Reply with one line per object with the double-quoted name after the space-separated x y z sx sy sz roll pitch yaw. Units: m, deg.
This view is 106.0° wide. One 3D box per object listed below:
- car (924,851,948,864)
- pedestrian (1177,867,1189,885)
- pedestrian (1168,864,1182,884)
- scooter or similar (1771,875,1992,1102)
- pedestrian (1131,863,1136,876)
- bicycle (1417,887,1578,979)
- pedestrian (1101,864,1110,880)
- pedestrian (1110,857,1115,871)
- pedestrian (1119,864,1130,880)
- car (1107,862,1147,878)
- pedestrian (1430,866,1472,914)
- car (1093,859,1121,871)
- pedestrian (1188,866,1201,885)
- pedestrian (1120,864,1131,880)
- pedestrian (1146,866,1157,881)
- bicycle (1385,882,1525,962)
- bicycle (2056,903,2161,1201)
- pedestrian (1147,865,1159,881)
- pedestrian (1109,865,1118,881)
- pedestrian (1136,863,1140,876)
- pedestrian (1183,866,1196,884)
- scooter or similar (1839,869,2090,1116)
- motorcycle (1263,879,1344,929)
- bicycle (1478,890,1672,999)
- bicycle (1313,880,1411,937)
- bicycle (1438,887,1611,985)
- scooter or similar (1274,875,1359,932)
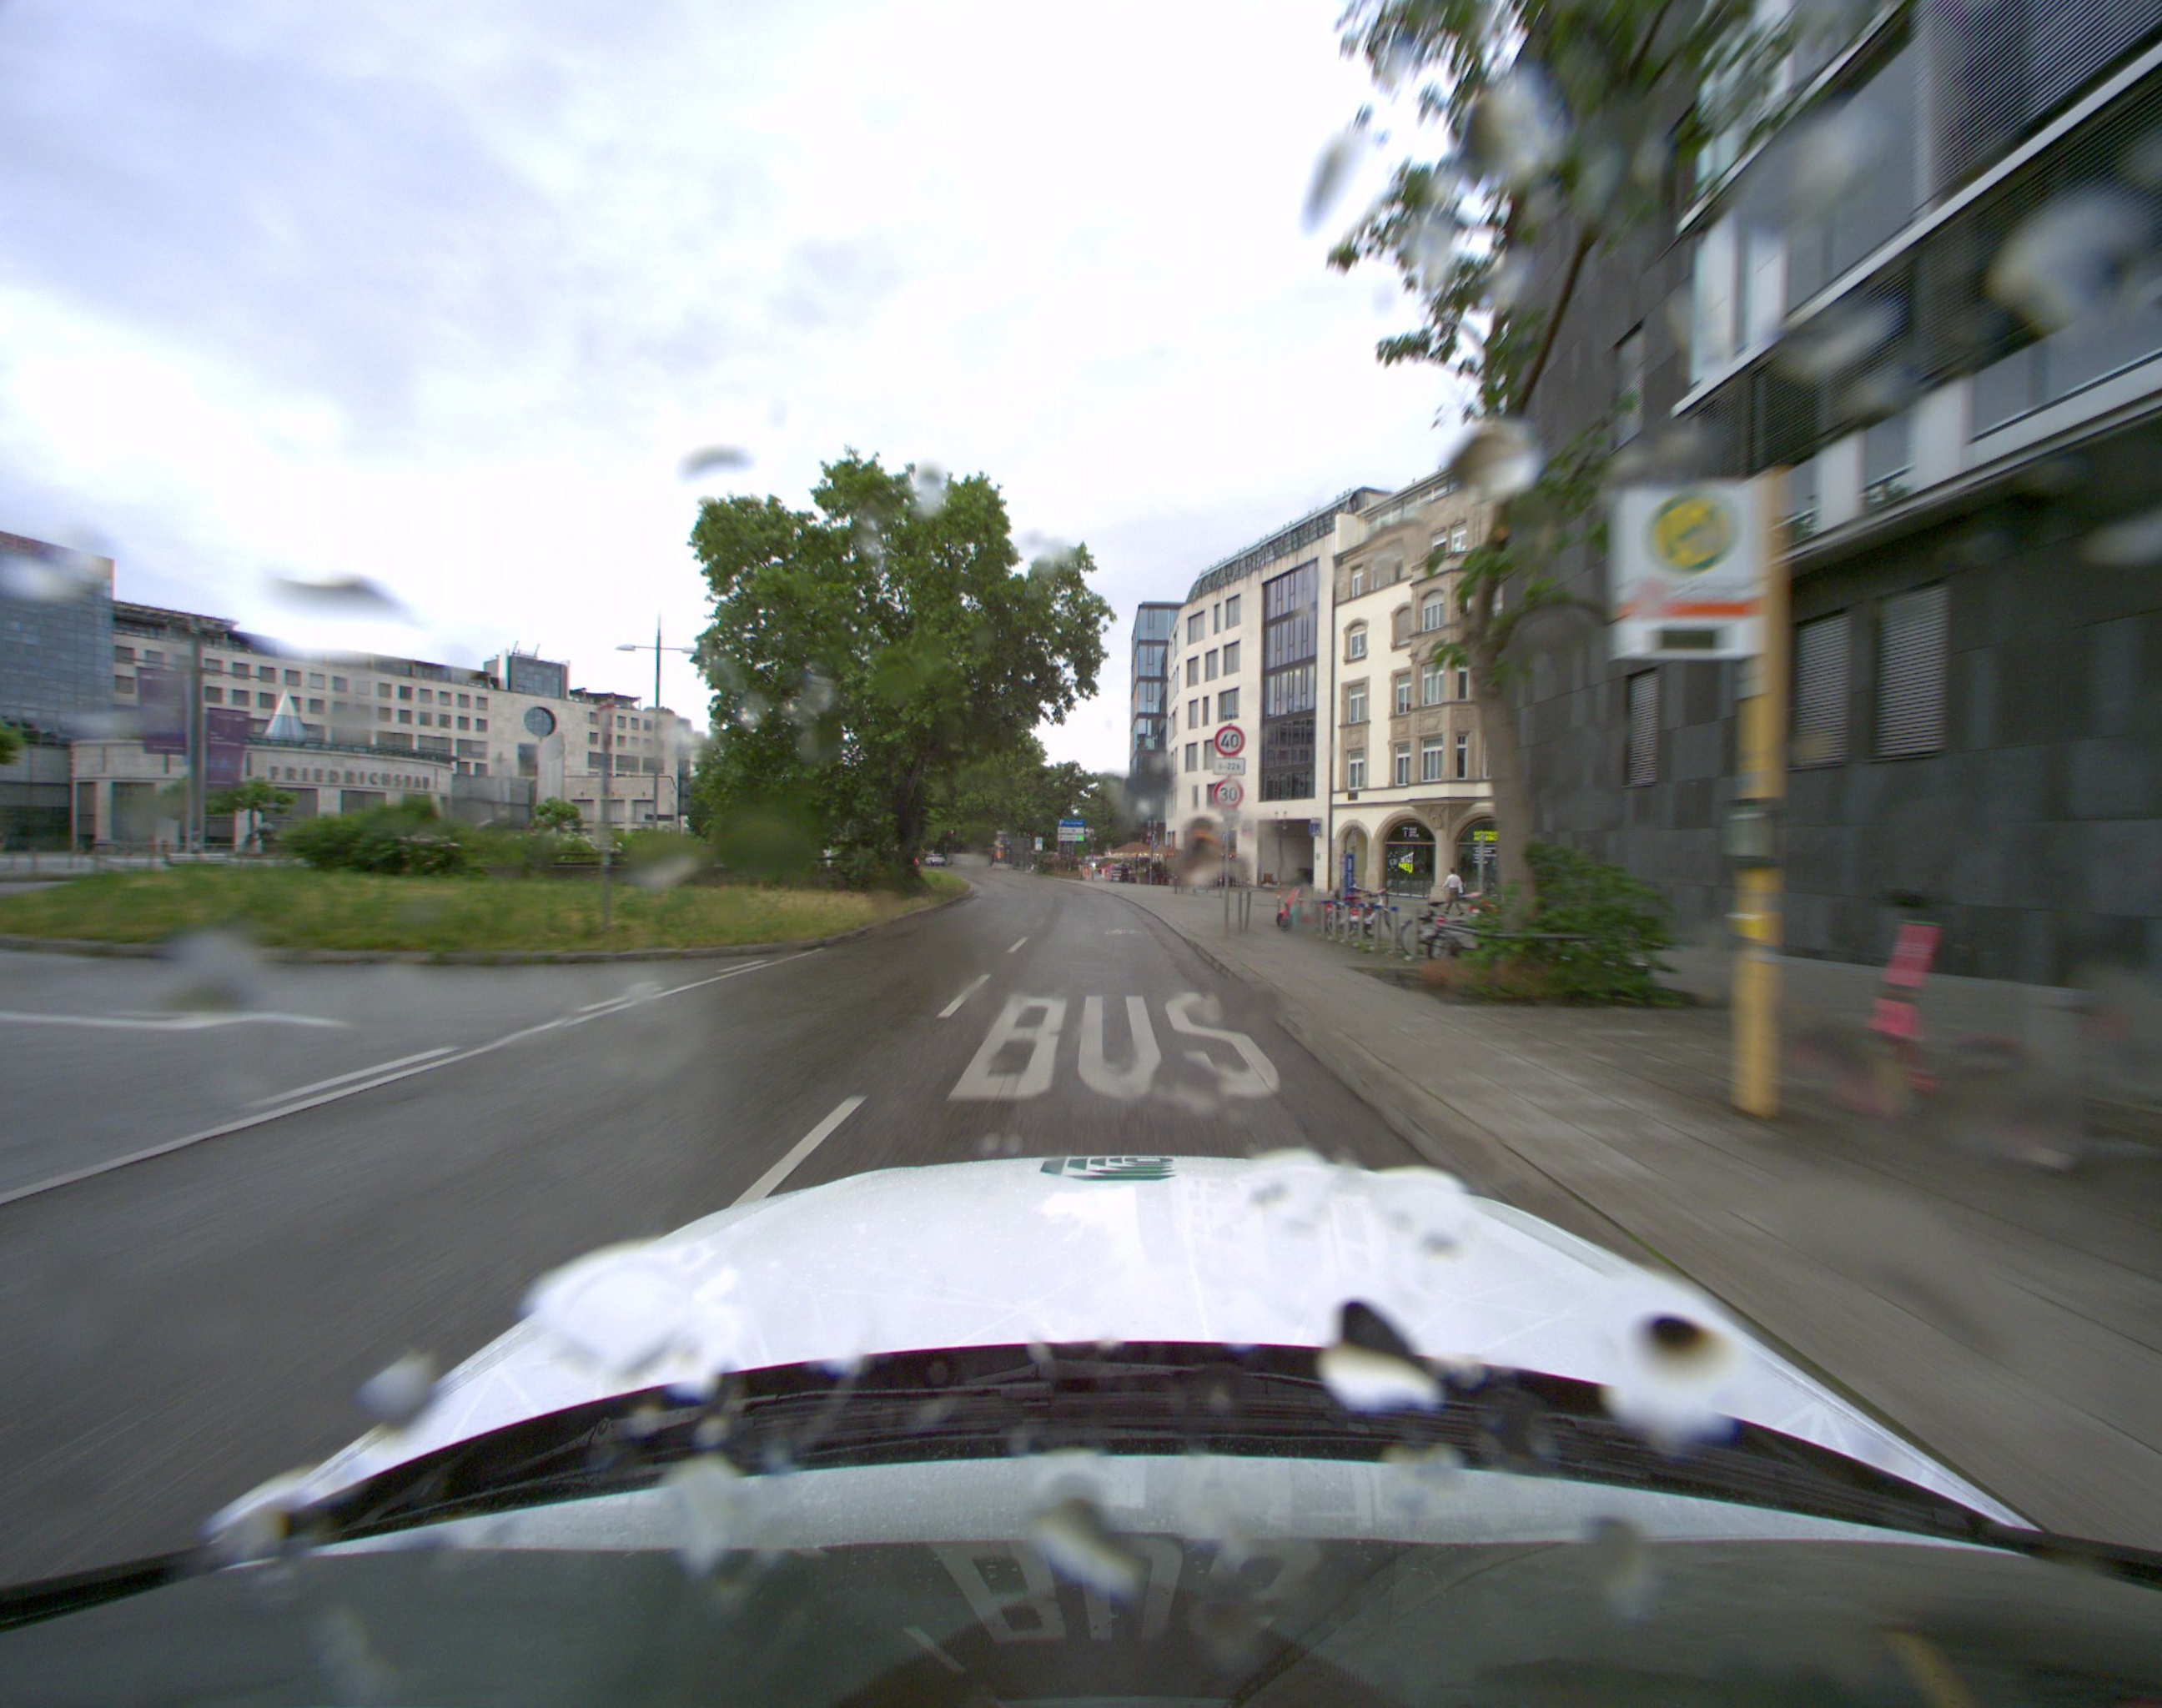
-19.630 0.453 110.098 1.958 1.666 4.304 2 -1 -29 "car"
7.689 1.692 61.588 0.629 1.326 0.631 4 -1 -23 "pedestrian"
6.387 1.374 55.214 0.772 1.326 0.635 3 -1 -4 "pedestrian"
4.642 0.759 4.739 1.059 1.258 0.302 1 -2 -6 "scooter or similar"
5.449 1.605 84.201 0.433 1.403 0.478 0 -1 -1 "pedestrian"
5.311 0.996 10.412 1.790 1.068 0.555 2 -2 -4 "bicycle"
2.076 1.512 68.520 0.604 1.326 0.567 3 -1 -3 "pedestrian"
4.383 1.441 114.294 0.621 1.933 0.789 2 -1 8 "pedestrian"
3.817 1.561 71.204 0.815 1.326 0.635 3 -1 -3 "pedestrian"
5.552 1.913 99.333 4.718 1.691 2.005 2 0 0 "car"
14.654 1.401 32.279 0.872 1.838 1.244 3 -2 -13 "pedestrian"
3.397 1.468 107.388 1.623 1.416 3.486 3 -1 -43 "car"
8.317 1.586 59.505 0.629 1.326 0.631 4 -1 -23 "pedestrian"
3.862 1.546 70.459 0.815 1.326 0.635 3 -1 -3 "pedestrian"
6.125 1.695 71.260 0.815 1.326 0.635 3 -1 -3 "pedestrian"
5.591 1.008 12.220 1.791 1.108 0.669 2 -2 -5 "bicycle"
4.955 0.782 3.213 1.532 1.140 0.661 1 -2 -5 "bicycle"
6.213 1.670 70.345 0.815 1.326 0.635 3 -1 -3 "pedestrian"
2.730 1.564 68.536 0.604 1.326 0.567 3 -1 -3 "pedestrian"
5.902 1.613 84.596 0.433 1.403 0.478 0 -1 -1 "pedestrian"
8.031 1.568 60.317 0.629 1.326 0.631 4 -1 -23 "pedestrian"
4.732 0.717 4.377 1.104 1.258 0.302 1 -2 -6 "scooter or similar"
5.434 1.214 19.944 1.789 1.140 0.595 2 -2 -5 "motorcycle"
5.308 0.962 8.791 1.790 1.068 0.555 2 -2 -4 "bicycle"
5.867 1.127 17.044 1.791 1.108 0.669 2 -2 -5 "bicycle"
5.275 0.969 9.729 1.790 1.068 0.555 2 -2 -4 "bicycle"
5.479 1.138 18.963 1.789 1.243 0.595 2 -2 -5 "scooter or similar"
